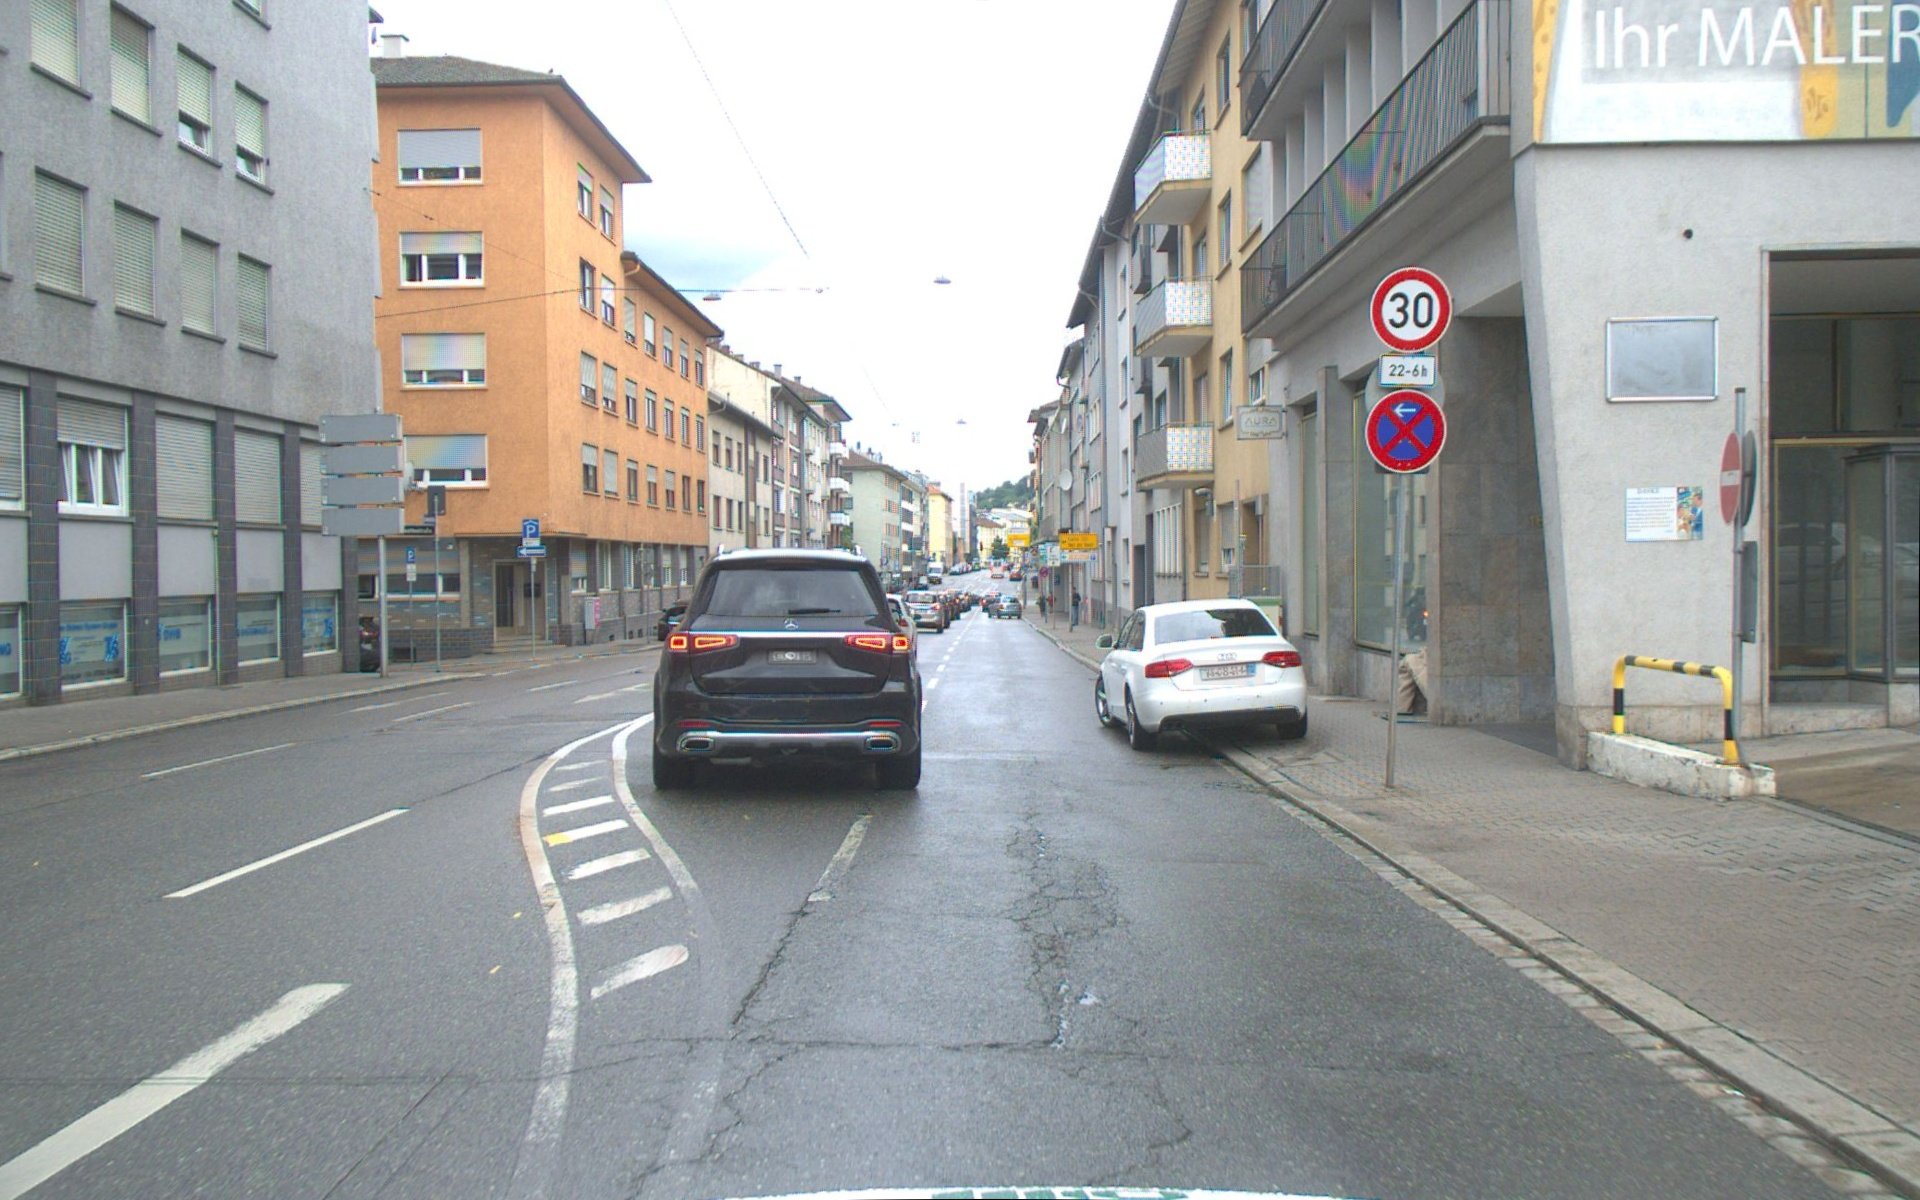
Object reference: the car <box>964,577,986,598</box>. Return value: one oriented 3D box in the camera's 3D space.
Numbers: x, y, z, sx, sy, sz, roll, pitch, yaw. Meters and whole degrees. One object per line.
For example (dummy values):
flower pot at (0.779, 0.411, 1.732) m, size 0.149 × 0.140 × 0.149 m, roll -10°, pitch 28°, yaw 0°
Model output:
car at (1.527, -1.211, 162.946) m, size 1.952 × 2.049 × 4.002 m, roll 1°, pitch 1°, yaw 3°

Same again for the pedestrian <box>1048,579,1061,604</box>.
pedestrian at (6.150, -0.560, 107.858) m, size 0.803 × 1.592 × 0.900 m, roll 1°, pitch 0°, yaw 4°

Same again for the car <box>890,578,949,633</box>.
car at (-1.563, 0.178, 65.036) m, size 1.952 × 2.049 × 4.002 m, roll 1°, pitch 1°, yaw 3°

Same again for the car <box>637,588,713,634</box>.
car at (-9.730, 0.341, 56.694) m, size 1.853 × 1.484 × 4.549 m, roll 1°, pitch 1°, yaw -1°

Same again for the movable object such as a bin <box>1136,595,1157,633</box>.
movable object such as a bin at (5.060, 0.383, 44.851) m, size 0.463 × 0.979 × 0.564 m, roll -4°, pitch 0°, yaw 2°

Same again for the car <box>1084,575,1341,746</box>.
car at (2.546, 0.539, 17.850) m, size 1.856 × 1.426 × 4.607 m, roll -6°, pitch 1°, yaw -1°

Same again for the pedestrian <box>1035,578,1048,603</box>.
pedestrian at (5.306, -0.601, 107.896) m, size 0.803 × 1.592 × 0.900 m, roll 1°, pitch 0°, yaw 4°

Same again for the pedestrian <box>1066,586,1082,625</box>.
pedestrian at (5.290, 0.255, 76.780) m, size 0.641 × 1.782 × 0.742 m, roll -3°, pitch 0°, yaw 6°

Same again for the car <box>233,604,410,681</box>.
car at (-17.211, 1.127, 44.722) m, size 3.906 × 1.680 × 1.930 m, roll -5°, pitch 1°, yaw 1°

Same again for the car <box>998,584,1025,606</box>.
car at (3.444, -0.326, 111.414) m, size 1.699 × 1.412 × 4.582 m, roll 1°, pitch 1°, yaw 0°

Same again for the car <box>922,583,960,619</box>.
car at (-1.100, 0.030, 98.471) m, size 1.952 × 2.049 × 4.002 m, roll 1°, pitch 1°, yaw 3°

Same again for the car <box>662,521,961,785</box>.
car at (-1.350, 0.325, 13.683) m, size 2.037 × 1.796 × 4.602 m, roll 1°, pitch 1°, yaw -9°

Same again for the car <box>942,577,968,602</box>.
car at (-0.394, -0.885, 136.277) m, size 1.952 × 2.049 × 4.002 m, roll 1°, pitch 1°, yaw 3°

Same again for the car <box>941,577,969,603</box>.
car at (-0.354, -0.813, 130.849) m, size 1.952 × 2.049 × 4.002 m, roll 1°, pitch 1°, yaw 3°

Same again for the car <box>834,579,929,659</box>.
car at (-1.608, 0.353, 35.023) m, size 1.855 × 1.537 × 4.172 m, roll 2°, pitch 1°, yaw -2°

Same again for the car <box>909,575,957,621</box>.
car at (-1.224, -0.109, 76.866) m, size 1.952 × 2.049 × 4.002 m, roll 1°, pitch 1°, yaw 3°
